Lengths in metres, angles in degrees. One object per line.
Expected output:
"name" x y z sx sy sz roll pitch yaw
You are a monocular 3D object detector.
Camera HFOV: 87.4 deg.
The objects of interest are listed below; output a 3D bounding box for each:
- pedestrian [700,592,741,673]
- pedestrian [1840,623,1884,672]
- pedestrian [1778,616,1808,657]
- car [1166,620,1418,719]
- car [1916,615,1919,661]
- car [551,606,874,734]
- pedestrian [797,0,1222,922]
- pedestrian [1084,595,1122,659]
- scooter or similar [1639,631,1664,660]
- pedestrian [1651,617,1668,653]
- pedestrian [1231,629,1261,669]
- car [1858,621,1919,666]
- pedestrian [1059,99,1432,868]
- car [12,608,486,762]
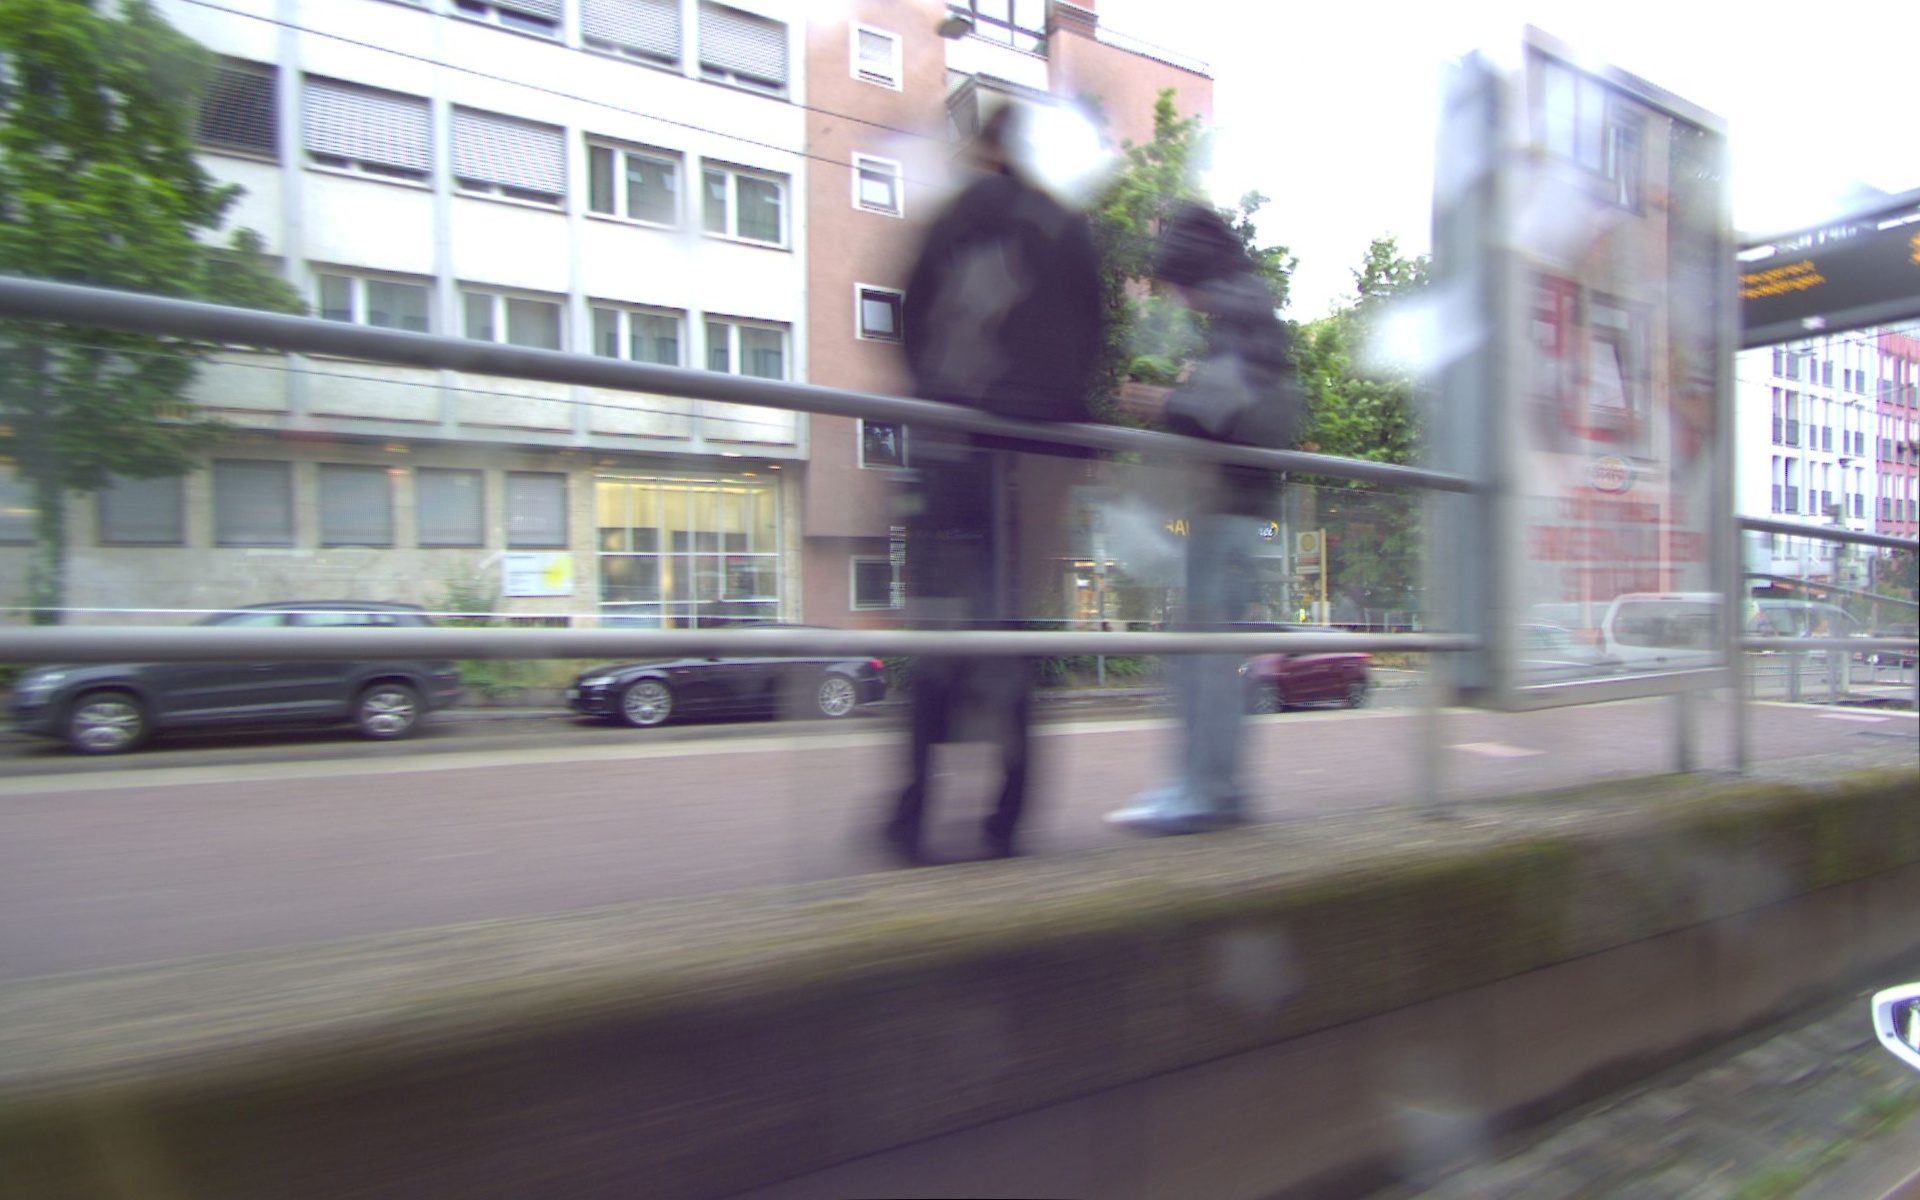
"pedestrian" -4.757 0.645 19.940 0.579 1.578 0.694 1 -1 -36
"pedestrian" 32.185 1.685 35.858 0.791 1.653 0.882 -1 1 1
"pedestrian" 36.141 1.586 43.579 0.977 1.720 0.813 1 1 -38
"car" 5.746 1.115 17.181 4.482 1.481 1.682 1 -1 -33
"car" 41.544 1.563 41.705 4.273 1.883 1.698 1 -1 -33
"car" -3.558 0.952 14.705 4.319 1.645 1.631 1 -1 -30
"pedestrian" 0.097 -0.261 2.136 0.693 1.630 0.580 1 -1 -32
"pedestrian" 3.665 0.696 25.757 0.808 1.617 0.556 1 -1 -28
"scooter or similar" 28.648 1.875 41.612 1.197 1.207 0.387 1 -1 -29
"pedestrian" 32.528 1.626 46.715 0.570 1.653 0.609 2 1 34
"pedestrian" 8.661 1.485 30.443 0.600 1.193 0.674 1 -1 -24
"car" 36.943 1.647 39.014 4.496 1.633 1.719 0 -1 -29
"pedestrian" 0.698 -0.232 2.491 0.693 1.578 0.580 1 -1 -32
"car" -8.083 0.908 11.938 4.319 1.556 1.631 1 -1 -30
